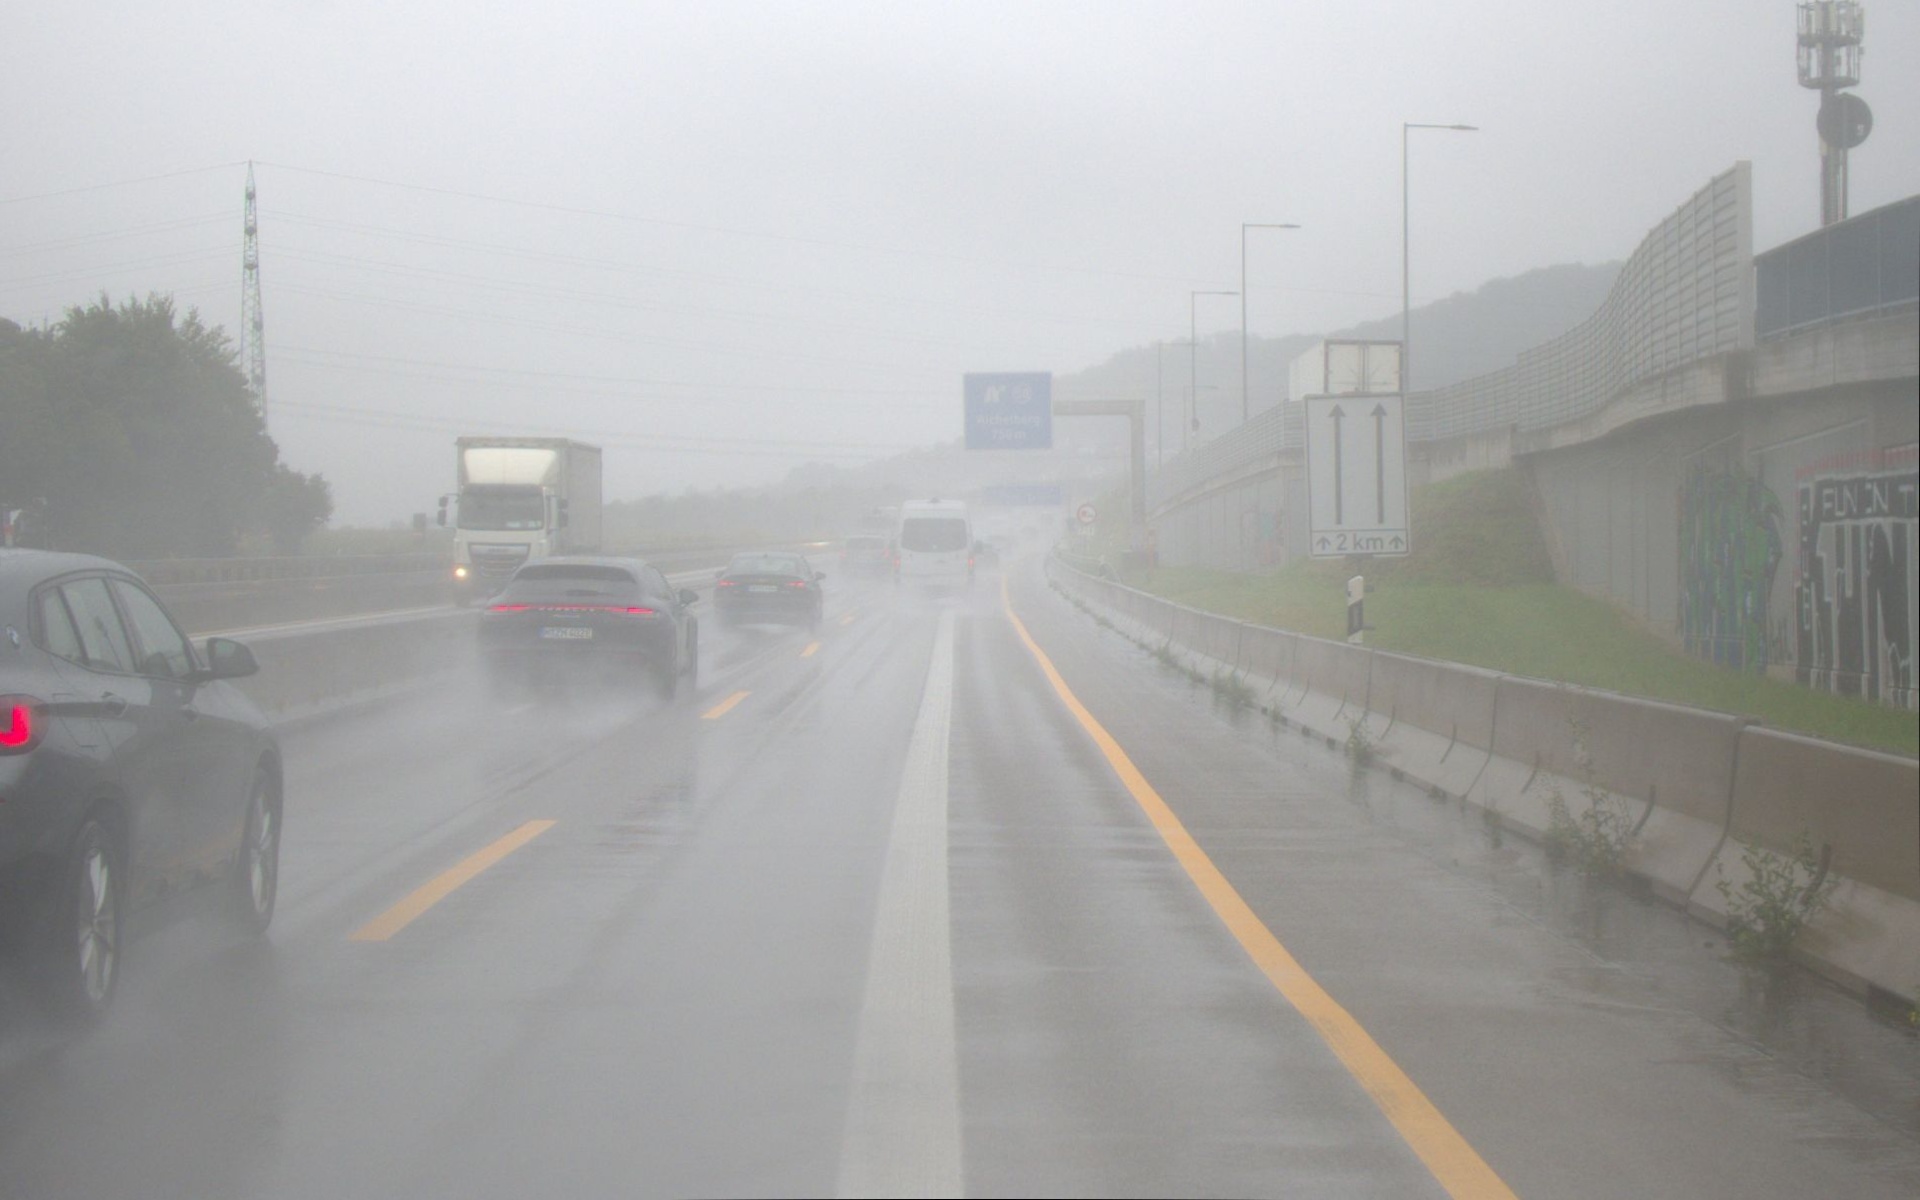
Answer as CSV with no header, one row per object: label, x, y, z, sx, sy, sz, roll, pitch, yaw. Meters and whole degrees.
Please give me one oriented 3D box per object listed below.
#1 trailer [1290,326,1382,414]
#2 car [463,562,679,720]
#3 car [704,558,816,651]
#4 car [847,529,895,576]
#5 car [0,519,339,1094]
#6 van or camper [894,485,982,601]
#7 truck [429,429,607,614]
trailer,13.039,-7.937,120.044,1.993,2.099,13.768,1,0,1
car,-3.899,0.397,35.054,1.844,1.486,4.262,1,0,-2
car,-3.508,0.055,60.794,1.844,1.486,4.262,-2,1,-2
car,-3.015,-1.607,116.184,1.566,1.475,2.822,-2,0,-2
car,-3.366,0.561,11.923,1.700,1.592,4.845,1,0,-2
van or camper,-0.569,-1.368,85.017,1.996,2.768,4.050,1,0,-2
truck,-10.501,-1.762,82.604,3.005,4.152,9.831,-1,0,0
